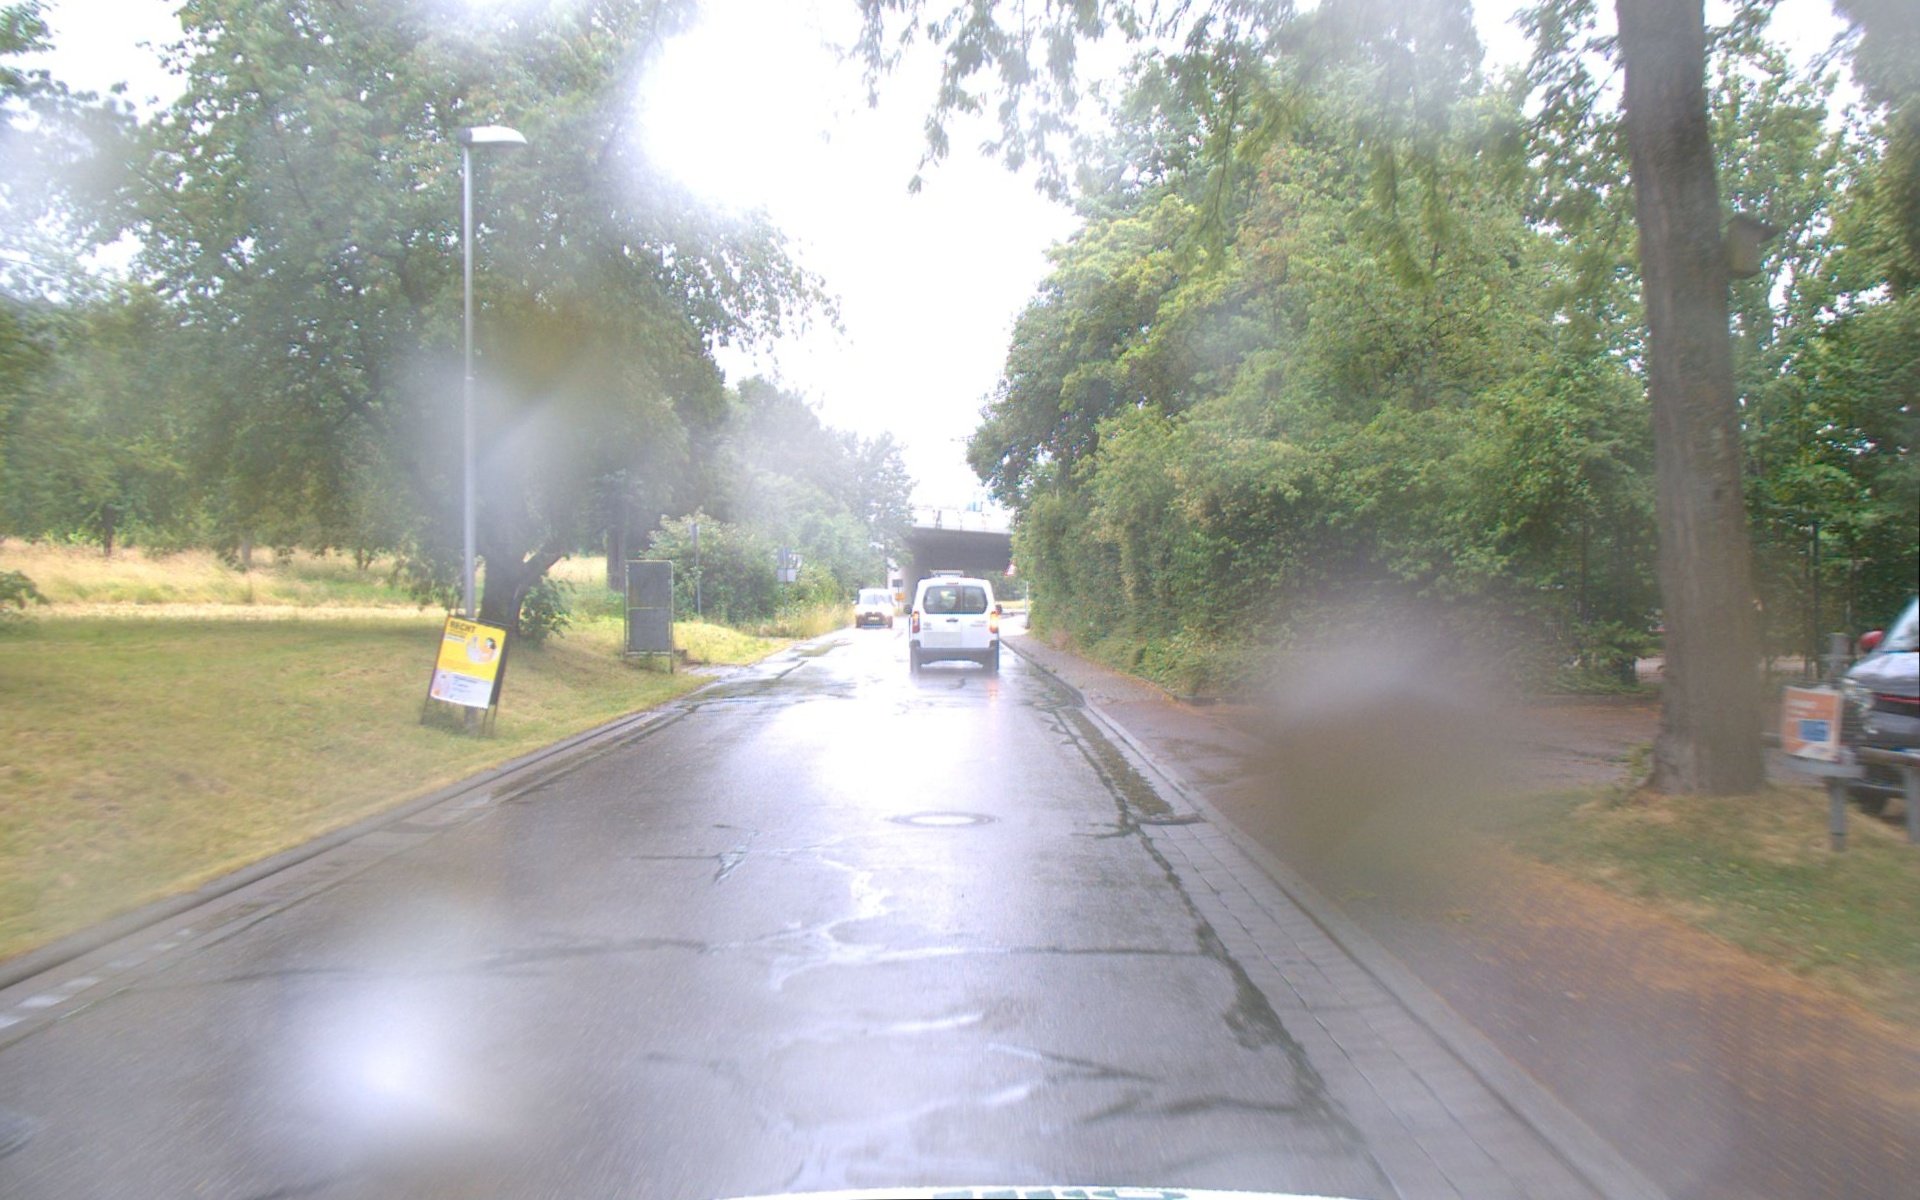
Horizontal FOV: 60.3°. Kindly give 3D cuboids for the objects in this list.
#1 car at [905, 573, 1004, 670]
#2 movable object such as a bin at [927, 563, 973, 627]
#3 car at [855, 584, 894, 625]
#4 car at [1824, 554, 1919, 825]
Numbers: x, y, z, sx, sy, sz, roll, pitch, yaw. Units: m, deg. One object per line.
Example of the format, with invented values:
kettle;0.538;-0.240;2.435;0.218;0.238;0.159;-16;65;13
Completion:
car;-0.103;0.390;33.716;1.858;1.838;4.000;-1;1;0
movable object such as a bin;-0.403;-0.208;69.461;1.724;2.592;4.240;1;0;2
car;-4.036;0.206;78.484;1.787;1.864;4.305;0;0;-2
car;7.120;0.504;10.552;3.579;1.578;1.599;0;-1;-40
